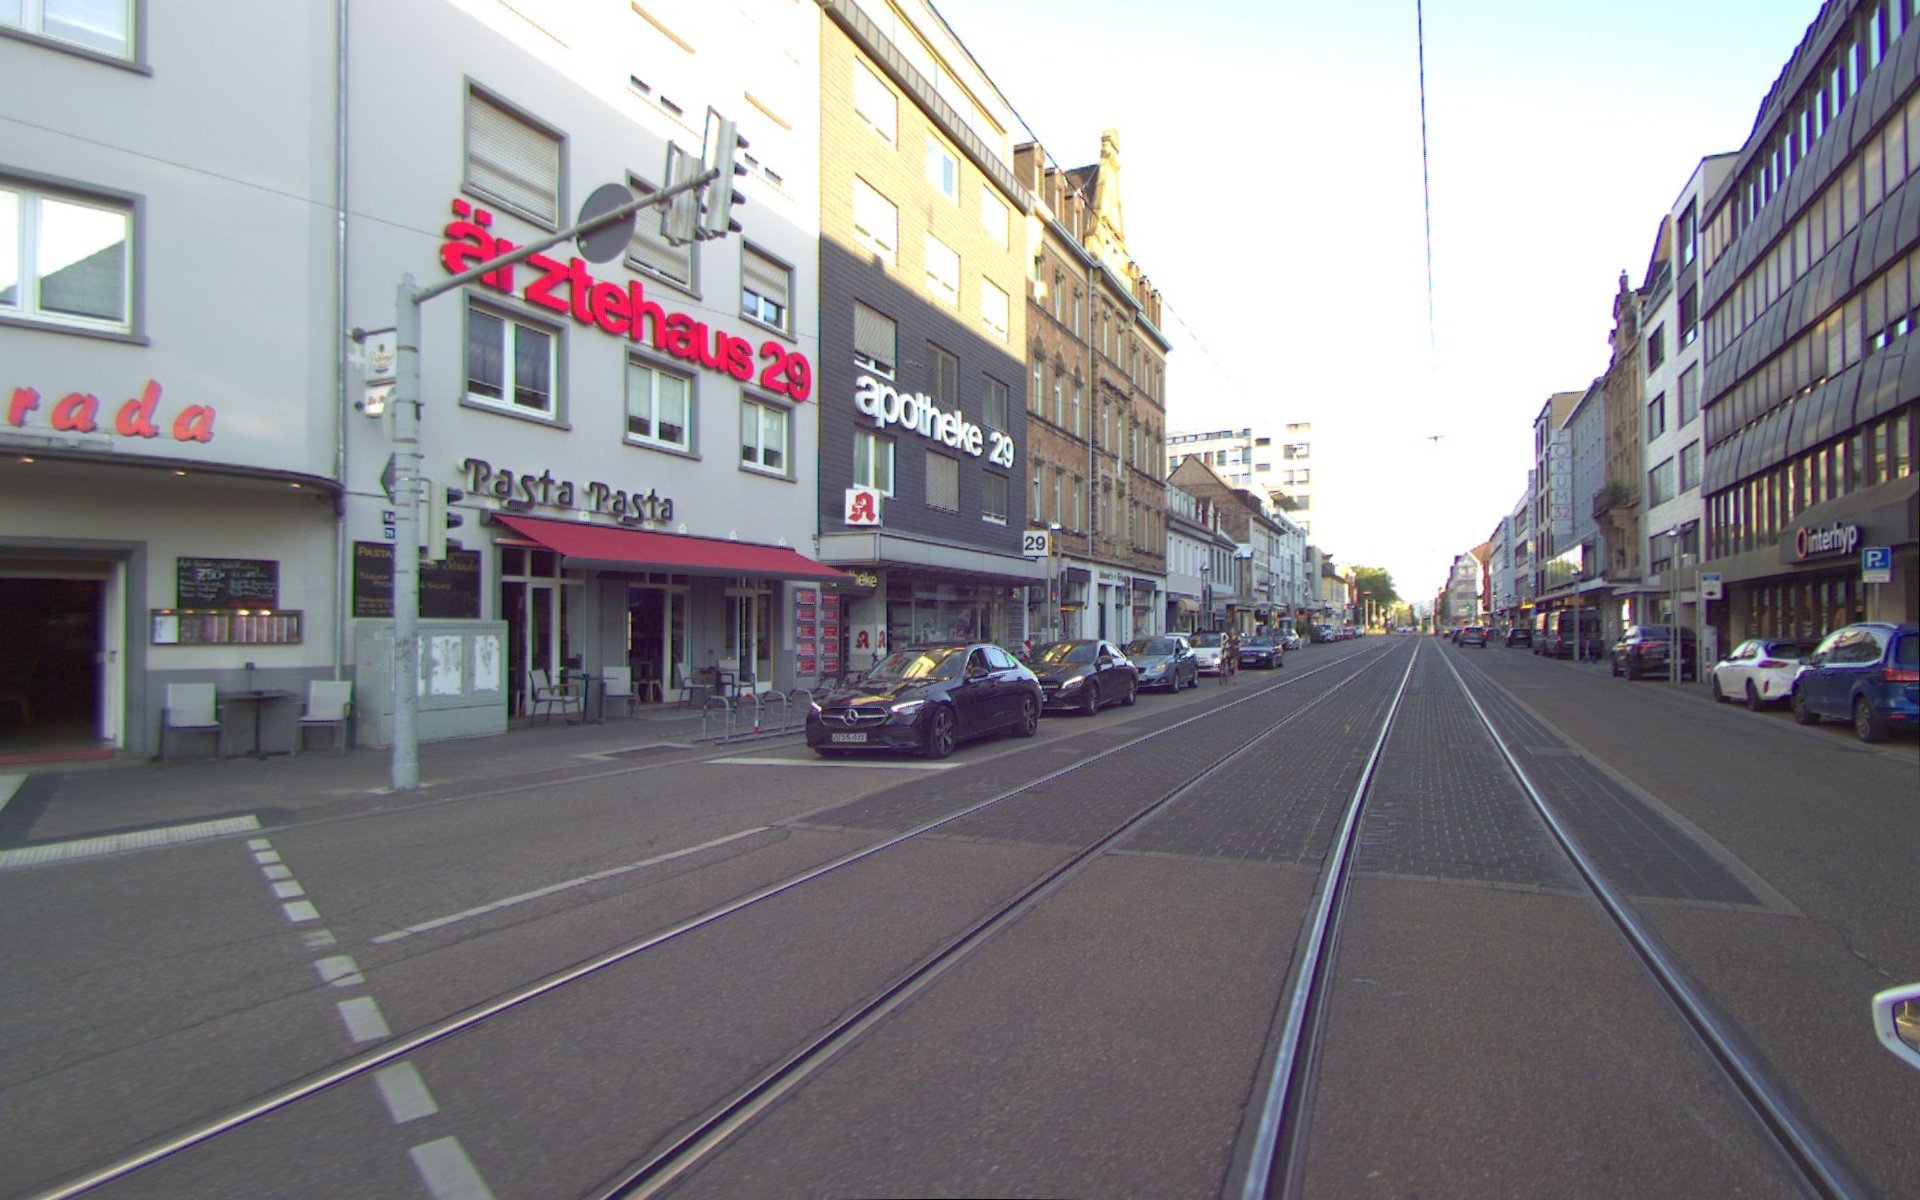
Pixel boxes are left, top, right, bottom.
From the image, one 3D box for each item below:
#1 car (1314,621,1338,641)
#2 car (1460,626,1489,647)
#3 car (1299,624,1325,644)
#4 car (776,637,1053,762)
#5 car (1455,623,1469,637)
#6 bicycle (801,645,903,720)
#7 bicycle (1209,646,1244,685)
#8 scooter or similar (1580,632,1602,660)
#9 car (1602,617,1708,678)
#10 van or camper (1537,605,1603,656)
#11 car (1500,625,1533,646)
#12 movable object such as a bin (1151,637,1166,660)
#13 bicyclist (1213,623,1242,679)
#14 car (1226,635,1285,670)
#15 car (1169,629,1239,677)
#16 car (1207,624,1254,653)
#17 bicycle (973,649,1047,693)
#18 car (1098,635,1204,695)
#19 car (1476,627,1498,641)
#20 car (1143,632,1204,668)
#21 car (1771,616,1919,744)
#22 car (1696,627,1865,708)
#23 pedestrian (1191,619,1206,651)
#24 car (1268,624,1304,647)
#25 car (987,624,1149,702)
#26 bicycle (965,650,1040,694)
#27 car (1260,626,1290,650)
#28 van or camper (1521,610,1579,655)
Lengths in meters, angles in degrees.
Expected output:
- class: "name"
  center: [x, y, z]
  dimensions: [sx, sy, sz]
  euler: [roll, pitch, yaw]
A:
- class: "car"
  center: [37.990, 3.260, 104.152]
  dimensions: [1.887, 1.961, 4.838]
  euler: [2, -1, 25]
- class: "car"
  center: [40.632, 2.876, 79.438]
  dimensions: [1.913, 1.565, 4.540]
  euler: [0, -2, 26]
- class: "car"
  center: [34.031, 3.305, 96.981]
  dimensions: [1.887, 1.786, 4.426]
  euler: [2, -1, 25]
- class: "car"
  center: [-0.407, 1.256, 13.891]
  dimensions: [1.885, 1.404, 4.560]
  euler: [-3, -3, 25]
- class: "car"
  center: [84.347, 5.026, 168.935]
  dimensions: [1.914, 2.173, 4.540]
  euler: [-3, -3, 25]
- class: "bicycle"
  center: [-2.045, 1.535, 18.992]
  dimensions: [1.827, 1.243, 0.607]
  euler: [2, 0, 26]
- class: "bicycle"
  center: [7.673, 1.867, 28.858]
  dimensions: [0.682, 1.047, 2.081]
  euler: [-1, -2, 23]
- class: "scooter or similar"
  center: [28.795, 2.100, 45.825]
  dimensions: [1.103, 1.240, 0.352]
  euler: [0, -3, -33]
- class: "car"
  center: [22.047, 1.502, 32.059]
  dimensions: [1.954, 1.757, 4.667]
  euler: [-3, -3, 25]
- class: "van or camper"
  center: [32.131, 1.641, 53.069]
  dimensions: [2.155, 2.458, 6.128]
  euler: [-3, -3, 24]
- class: "car"
  center: [44.048, 2.819, 79.557]
  dimensions: [1.914, 1.565, 4.540]
  euler: [-3, -3, 25]
- class: "movable object such as a bin"
  center: [10.161, 2.468, 51.363]
  dimensions: [0.581, 1.146, 0.728]
  euler: [-1, -2, 25]
- class: "bicyclist"
  center: [7.752, 1.473, 29.073]
  dimensions: [0.682, 1.586, 0.799]
  euler: [-1, -2, 24]
- class: "car"
  center: [11.893, 2.080, 40.244]
  dimensions: [1.641, 1.244, 4.271]
  euler: [-3, -3, 24]
- class: "car"
  center: [8.495, 1.800, 34.736]
  dimensions: [1.641, 1.525, 3.678]
  euler: [-3, -3, 24]
- class: "car"
  center: [14.582, 2.047, 54.018]
  dimensions: [1.707, 1.408, 3.861]
  euler: [2, -1, 25]
- class: "bicycle"
  center: [1.278, 1.814, 25.915]
  dimensions: [1.827, 0.996, 0.462]
  euler: [2, 0, 26]
- class: "car"
  center: [5.097, 1.662, 26.391]
  dimensions: [1.731, 1.404, 4.057]
  euler: [-3, -3, 25]
- class: "car"
  center: [59.926, 3.850, 114.268]
  dimensions: [1.914, 1.565, 4.540]
  euler: [-3, -3, 25]
- class: "car"
  center: [9.204, 2.091, 43.036]
  dimensions: [1.731, 1.408, 4.272]
  euler: [2, -1, 23]
- class: "car"
  center: [14.601, 1.147, 15.707]
  dimensions: [1.885, 1.739, 4.560]
  euler: [-3, -3, 25]
- class: "car"
  center: [17.052, 1.370, 21.103]
  dimensions: [1.738, 1.504, 3.870]
  euler: [-3, -3, 24]
- class: "pedestrian"
  center: [13.798, 2.015, 58.173]
  dimensions: [0.638, 1.796, 0.854]
  euler: [1, -1, 25]
- class: "car"
  center: [23.537, 2.534, 72.406]
  dimensions: [1.820, 1.524, 4.838]
  euler: [2, -1, 25]
- class: "car"
  center: [2.365, 1.251, 20.698]
  dimensions: [1.885, 1.404, 4.560]
  euler: [-3, -3, 25]
- class: "bicycle"
  center: [1.066, 1.810, 25.445]
  dimensions: [1.827, 0.996, 0.462]
  euler: [2, 0, 26]
- class: "car"
  center: [21.446, 2.562, 68.375]
  dimensions: [1.566, 1.524, 2.811]
  euler: [2, -1, 24]
- class: "van or camper"
  center: [34.642, 1.914, 59.083]
  dimensions: [2.154, 2.458, 5.515]
  euler: [-3, -3, 23]
